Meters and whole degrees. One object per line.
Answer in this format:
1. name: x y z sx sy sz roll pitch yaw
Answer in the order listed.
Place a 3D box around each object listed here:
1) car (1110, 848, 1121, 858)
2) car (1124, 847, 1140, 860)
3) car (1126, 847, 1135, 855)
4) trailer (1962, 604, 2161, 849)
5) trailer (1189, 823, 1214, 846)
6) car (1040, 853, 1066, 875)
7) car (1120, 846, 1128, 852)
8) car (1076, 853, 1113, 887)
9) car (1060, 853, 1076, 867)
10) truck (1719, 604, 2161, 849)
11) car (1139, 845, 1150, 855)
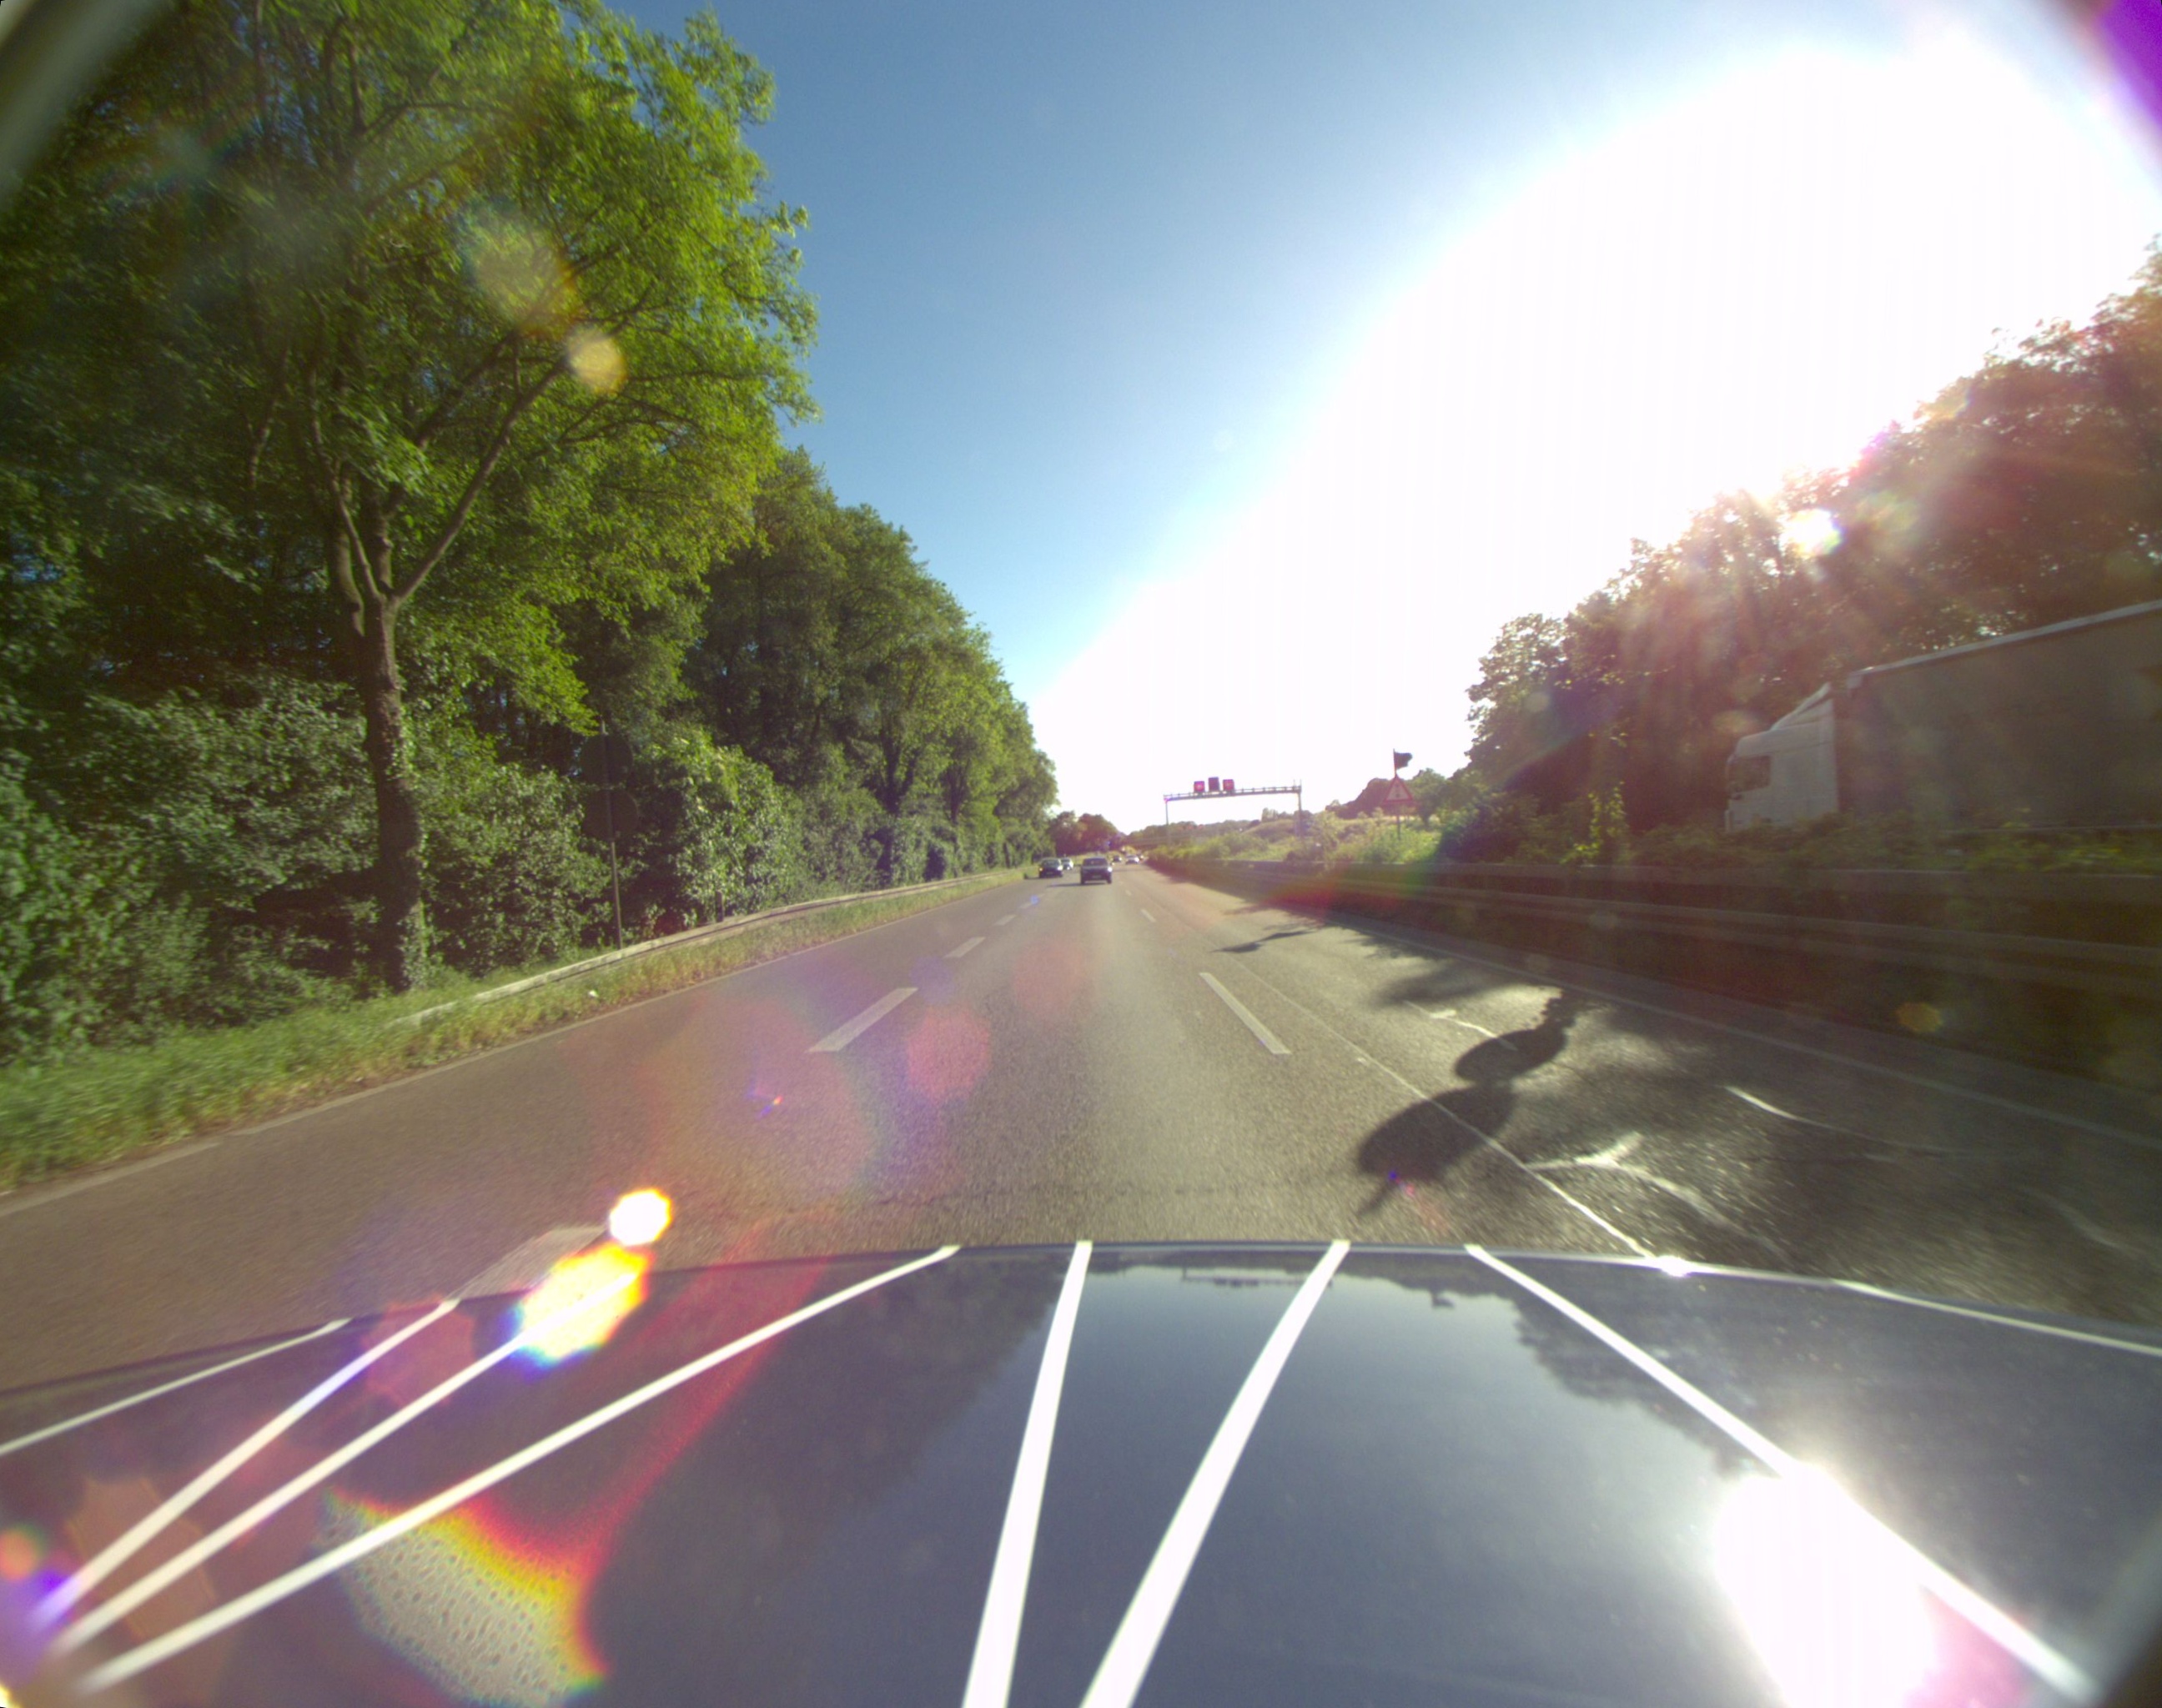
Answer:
1. car: 6.464 -0.130 142.414 1.998 1.740 4.373 -2 1 3
2. car: 7.561 -0.125 112.868 1.998 1.793 4.000 -2 1 1
3. car: 11.680 -0.760 178.771 1.998 1.740 4.374 -2 1 5
4. trailer: 15.314 -1.658 6.039 2.937 3.149 11.915 -2 1 1
5. trailer: 22.183 -3.445 140.559 3.029 3.965 14.028 -2 1 4
6. car: -2.146 0.793 59.213 1.712 1.565 3.423 -2 1 3
7. car: 14.008 -1.667 246.246 1.997 1.740 4.376 -2 1 10
8. car: 0.767 0.836 41.109 1.712 1.565 3.423 -5 0 4
9. car: -1.544 0.728 90.145 1.713 1.565 3.422 -2 1 0
10. truck: 15.451 -1.727 13.127 2.937 3.149 7.083 -2 1 1
11. car: 12.522 -0.801 149.159 1.998 1.740 4.374 -2 1 5
